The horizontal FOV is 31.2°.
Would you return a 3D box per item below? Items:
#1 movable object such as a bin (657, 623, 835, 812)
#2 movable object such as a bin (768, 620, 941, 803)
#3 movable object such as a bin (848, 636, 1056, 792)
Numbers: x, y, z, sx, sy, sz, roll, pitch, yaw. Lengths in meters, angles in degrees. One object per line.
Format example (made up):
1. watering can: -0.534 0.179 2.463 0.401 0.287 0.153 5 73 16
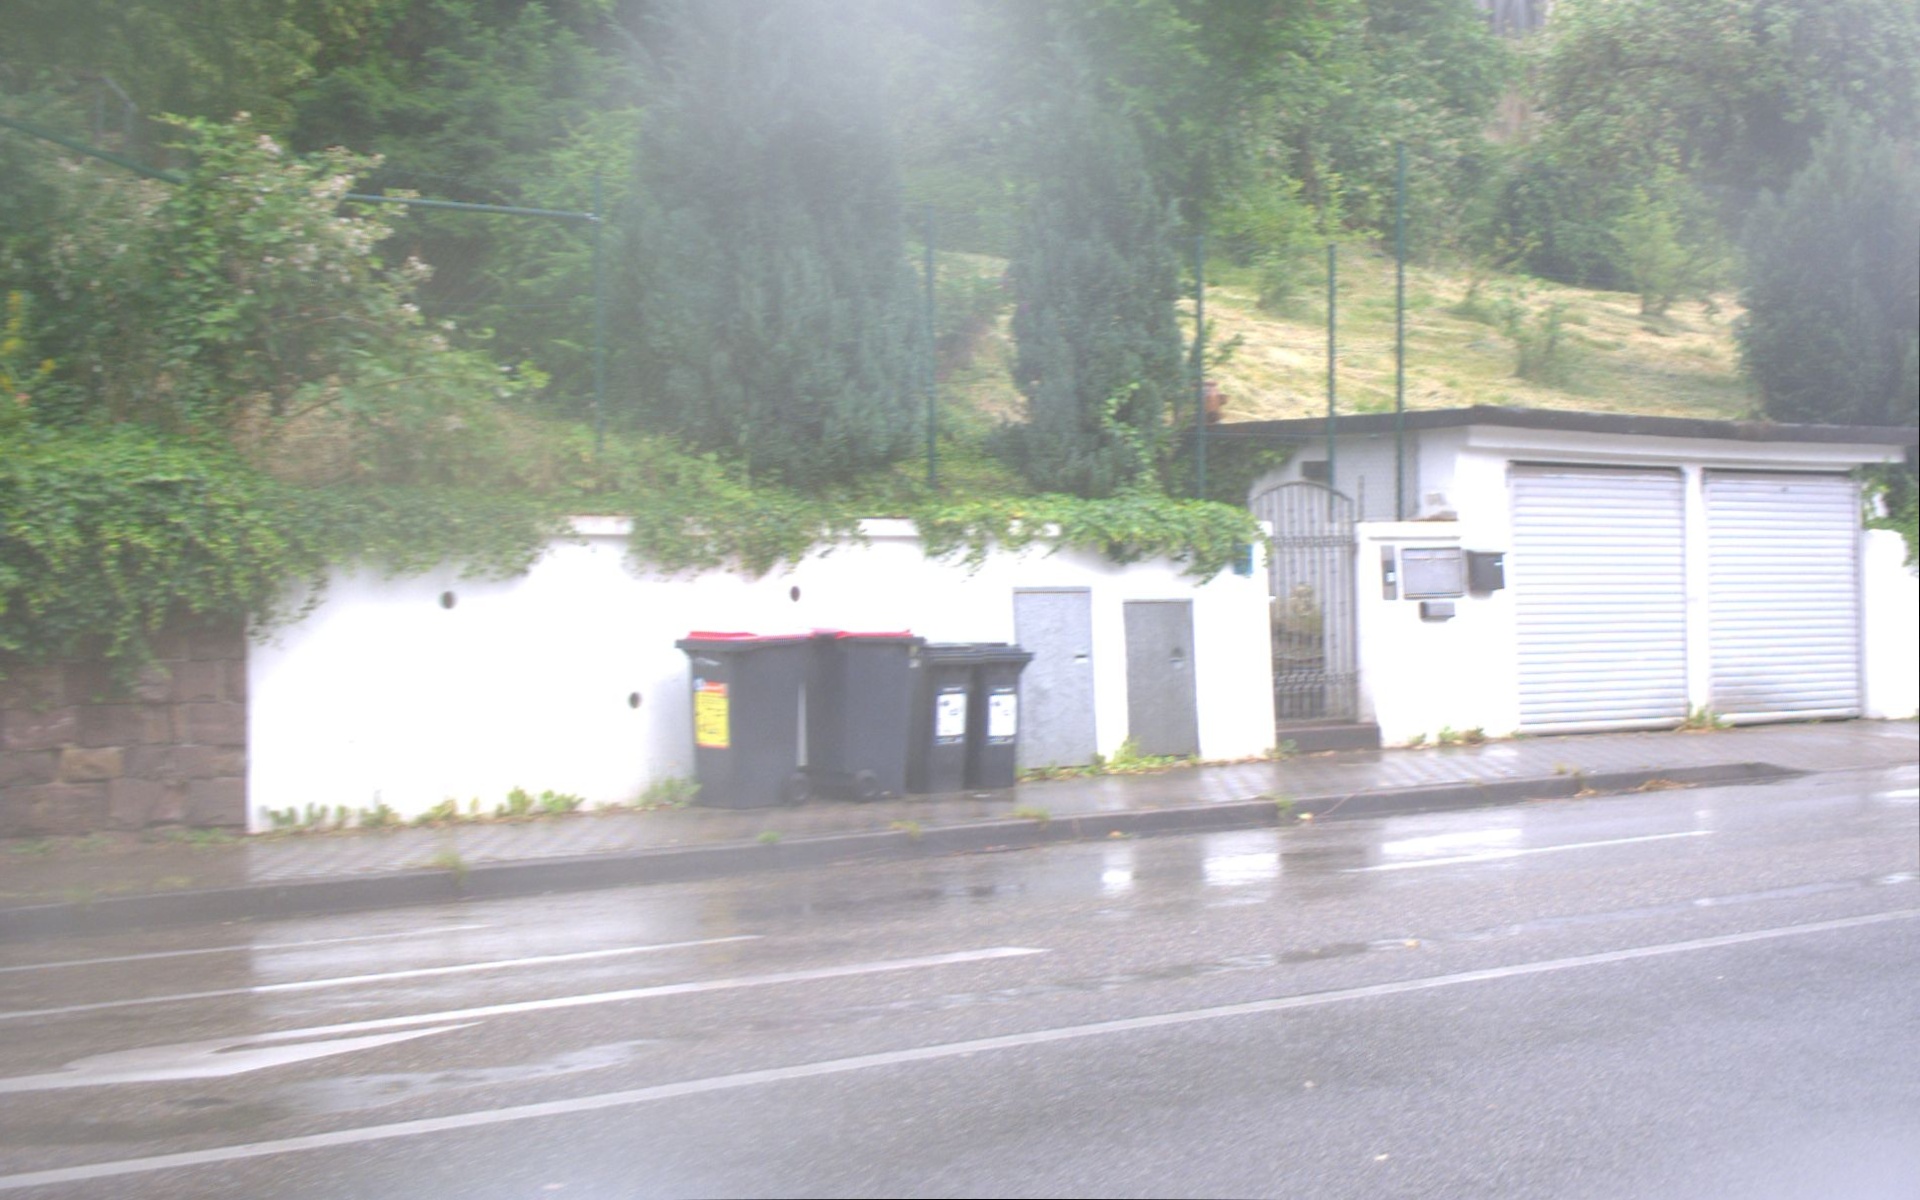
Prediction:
1. movable object such as a bin: -1.256 0.681 20.189 0.688 1.057 0.752 -1 0 45
2. movable object such as a bin: -0.632 0.661 20.692 0.636 1.057 0.792 -1 0 45
3. movable object such as a bin: -0.047 0.706 21.565 0.851 0.913 0.951 -1 1 44
